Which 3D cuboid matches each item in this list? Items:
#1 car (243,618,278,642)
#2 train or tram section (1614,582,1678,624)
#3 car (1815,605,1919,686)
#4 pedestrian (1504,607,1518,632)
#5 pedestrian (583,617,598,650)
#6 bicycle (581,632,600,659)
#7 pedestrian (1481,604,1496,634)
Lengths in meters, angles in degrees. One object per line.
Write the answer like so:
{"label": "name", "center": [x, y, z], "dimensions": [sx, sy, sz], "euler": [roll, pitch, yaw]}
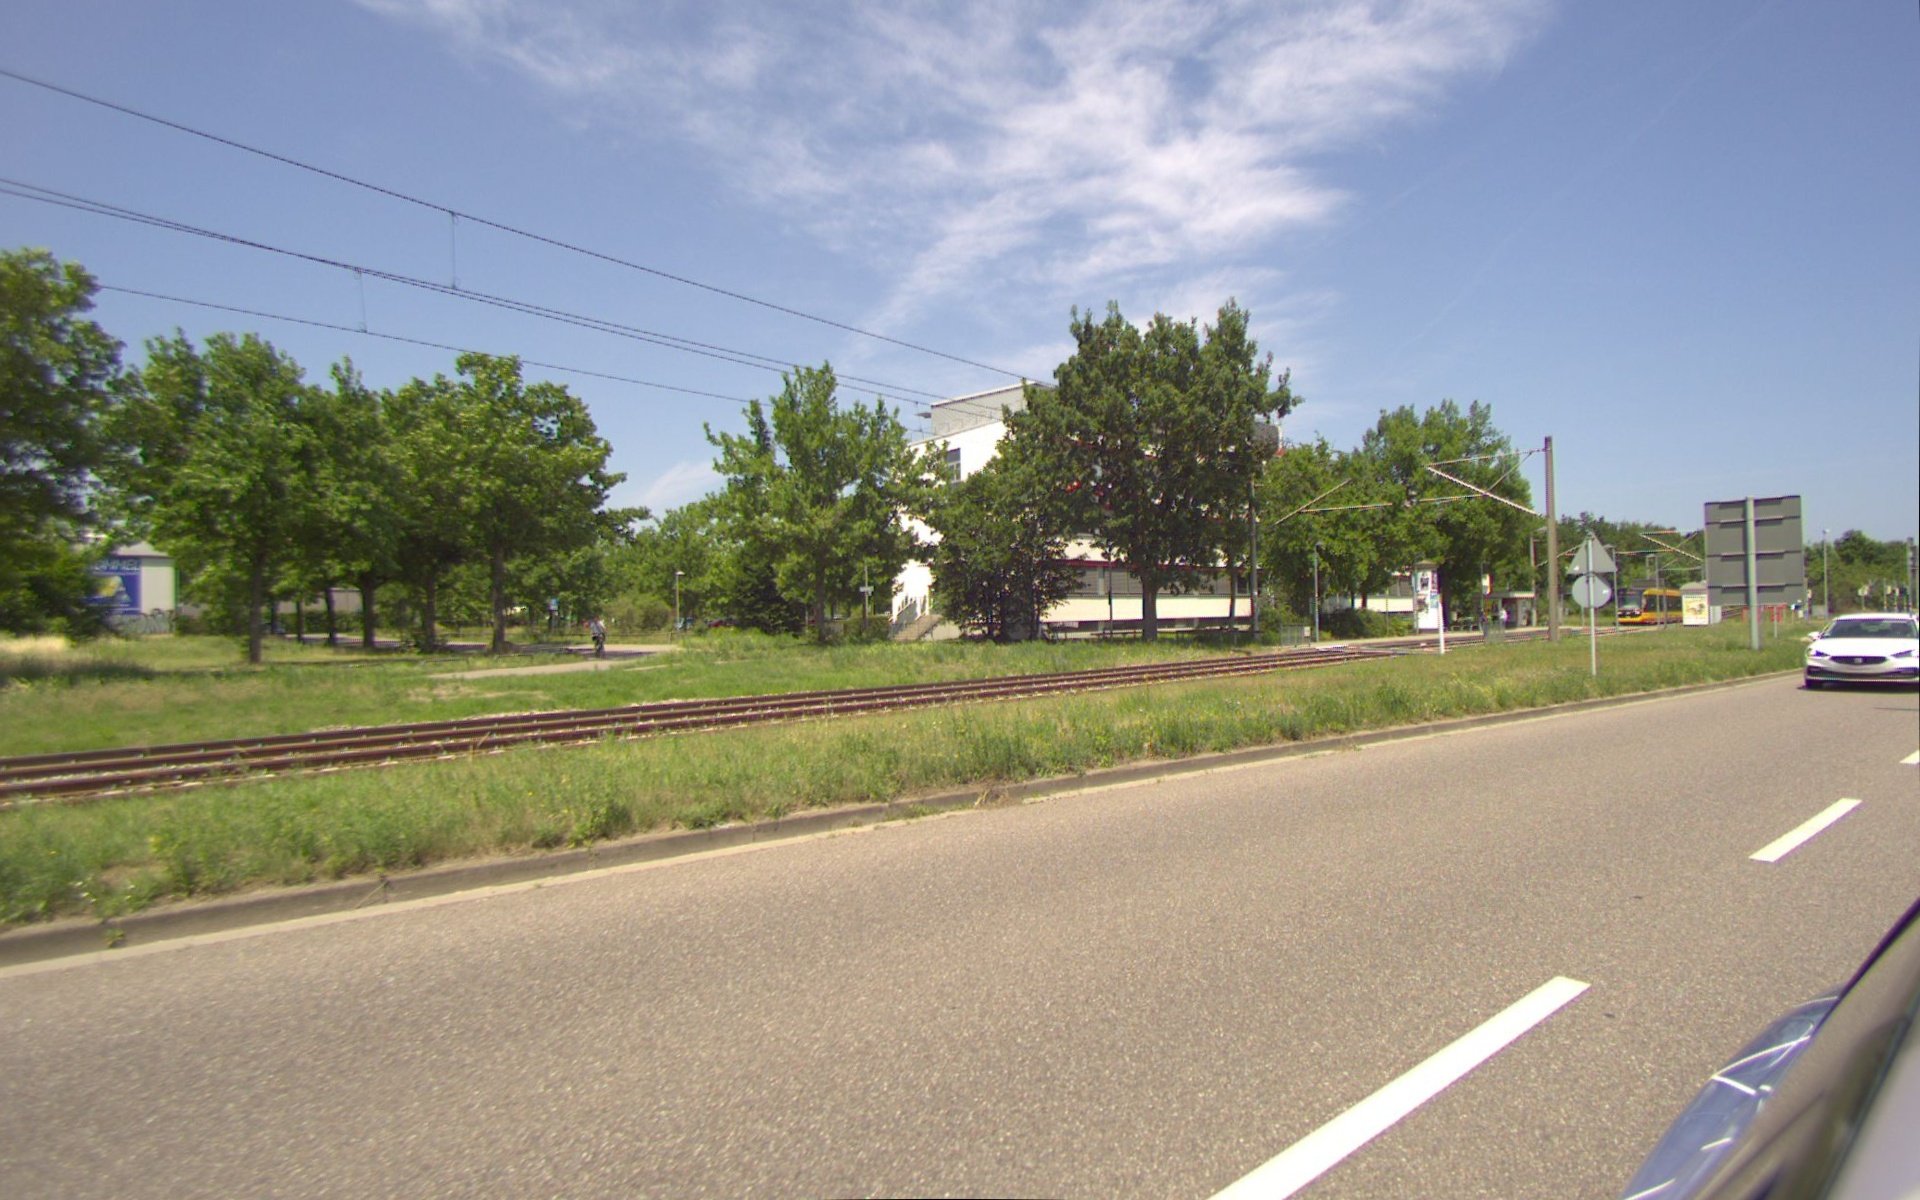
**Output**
{"label": "car", "center": [-67.009, 2.876, 96.920], "dimensions": [3.985, 2.040, 1.969], "euler": [-4, -3, 44]}
{"label": "train or tram section", "center": [62.614, 0.272, 92.251], "dimensions": [2.813, 3.628, 12.304], "euler": [-2, -1, 43]}
{"label": "car", "center": [18.217, 0.816, 19.723], "dimensions": [4.371, 1.407, 1.685], "euler": [0, 0, -40]}
{"label": "pedestrian", "center": [36.604, 1.269, 67.228], "dimensions": [0.678, 1.629, 0.552], "euler": [-1, -3, -41]}
{"label": "pedestrian", "center": [-16.063, 1.460, 44.015], "dimensions": [0.450, 1.421, 0.584], "euler": [0, -1, -36]}
{"label": "bicycle", "center": [-16.035, 1.951, 43.955], "dimensions": [0.423, 1.134, 1.581], "euler": [0, -2, -33]}
{"label": "pedestrian", "center": [32.891, 1.188, 62.980], "dimensions": [0.691, 1.866, 0.703], "euler": [-4, -3, 34]}
